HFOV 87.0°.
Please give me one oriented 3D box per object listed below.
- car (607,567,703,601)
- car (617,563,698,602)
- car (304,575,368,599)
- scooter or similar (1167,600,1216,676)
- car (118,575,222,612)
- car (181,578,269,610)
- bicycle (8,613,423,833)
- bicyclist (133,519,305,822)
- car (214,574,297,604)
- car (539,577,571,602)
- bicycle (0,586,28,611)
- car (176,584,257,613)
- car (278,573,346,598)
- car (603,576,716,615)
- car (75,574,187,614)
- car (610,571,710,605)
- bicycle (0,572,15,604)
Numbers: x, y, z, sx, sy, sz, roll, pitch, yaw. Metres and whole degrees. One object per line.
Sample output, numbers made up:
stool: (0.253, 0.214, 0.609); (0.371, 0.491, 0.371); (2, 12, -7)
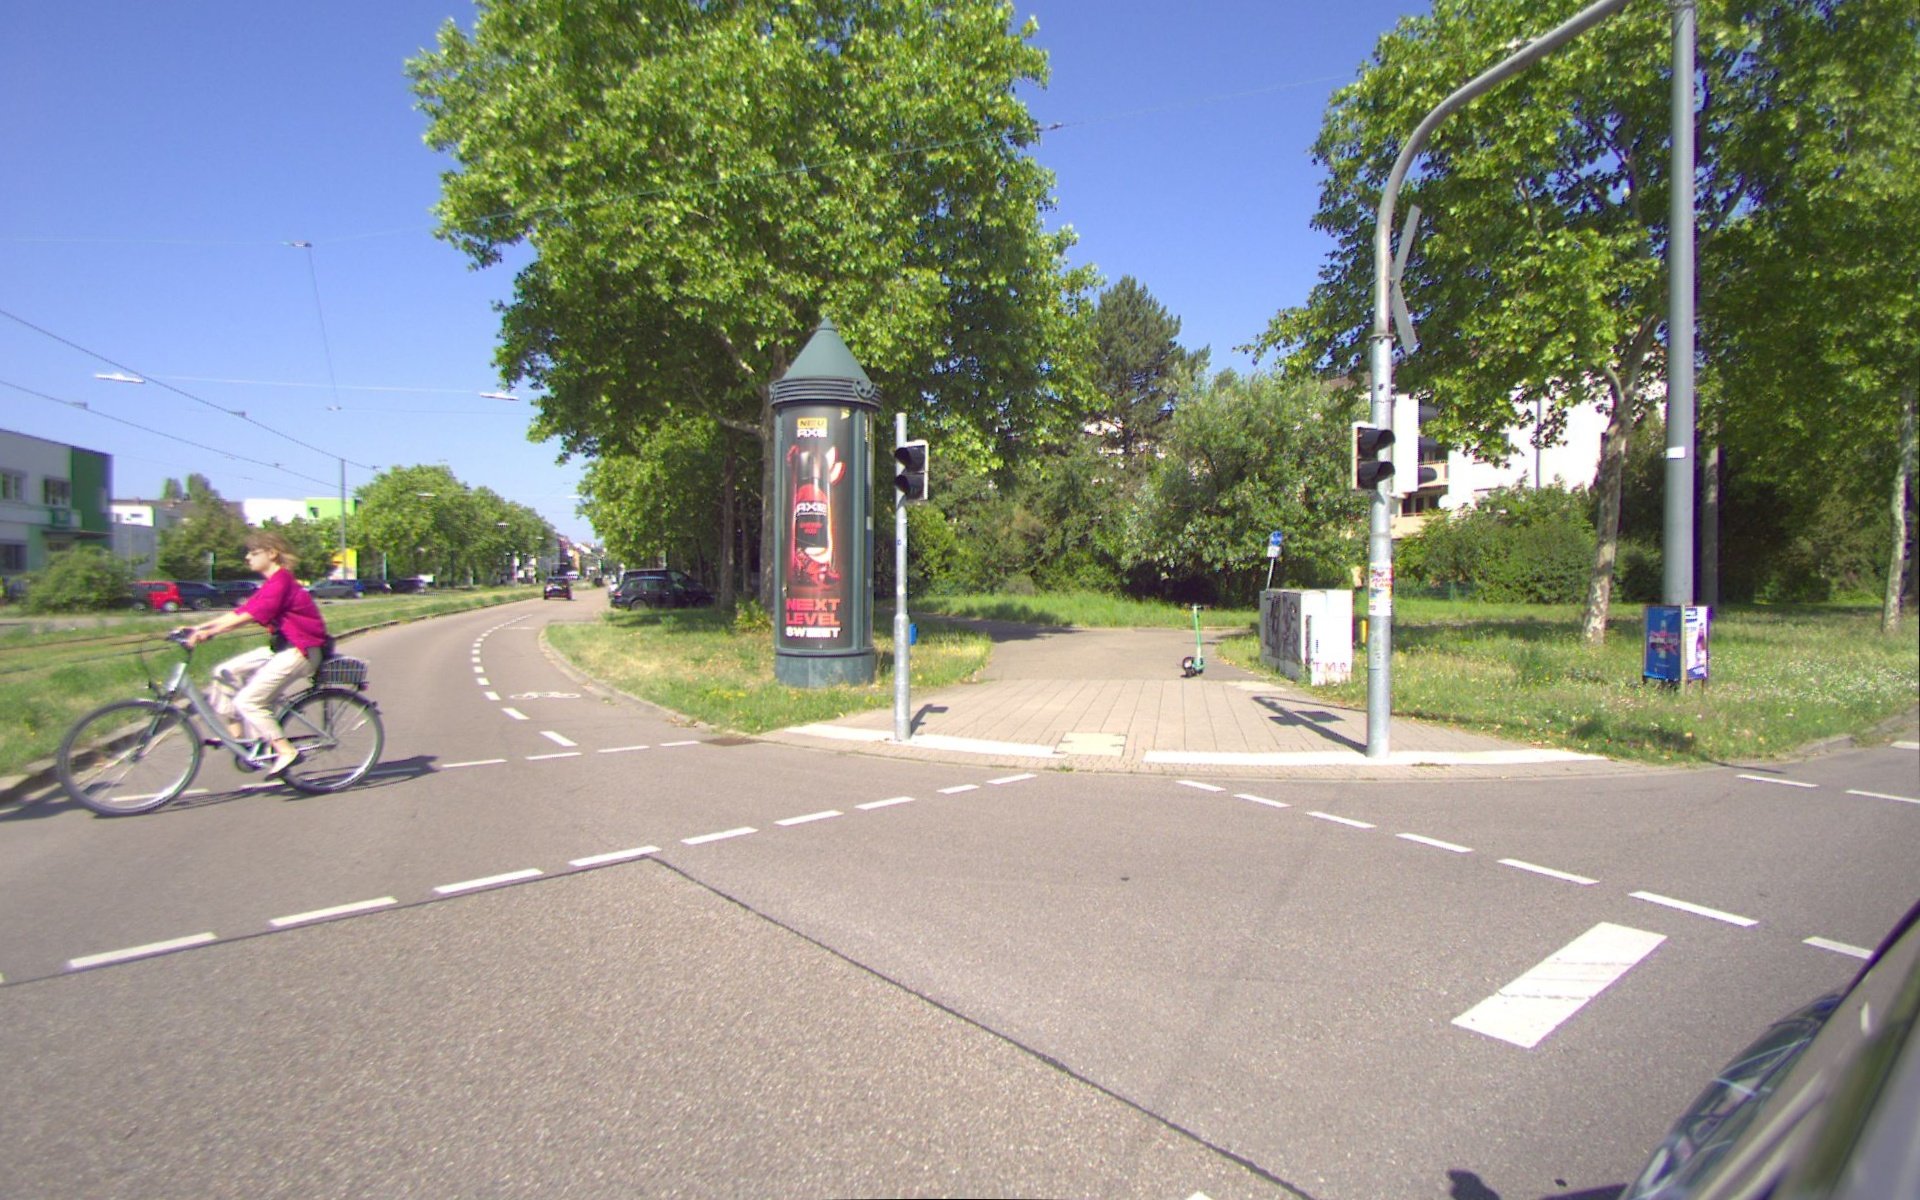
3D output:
car: (-15.111, -0.783, 50.212); (4.266, 1.653, 2.003); (-1, 0, -28)
car: (-18.217, -1.072, 60.980); (4.494, 2.318, 2.004); (0, 1, -22)
car: (-49.213, -1.036, 79.865); (1.993, 1.816, 3.939); (2, 2, 43)
scooter or similar: (3.844, 0.606, 16.719); (0.511, 1.156, 1.435); (-1, 1, 24)
car: (-40.156, -0.345, 51.494); (1.992, 1.816, 3.939); (-1, 0, 43)
car: (-43.731, -0.378, 60.251); (1.992, 1.816, 3.939); (-1, 0, 43)
bicycle: (-4.780, 0.708, 6.640); (0.691, 1.200, 2.091); (1, 0, 44)
bicyclist: (-4.818, 0.410, 6.585); (0.700, 1.809, 0.797); (1, 1, 44)
car: (-43.999, -0.683, 63.234); (1.992, 1.816, 3.939); (-1, 0, 43)
car: (-28.466, -0.737, 71.221); (1.756, 1.676, 4.008); (0, 0, -18)
bicycle: (-41.194, -0.071, 43.209); (1.089, 1.059, 2.132); (0, 1, -9)
car: (-41.963, -0.133, 57.132); (1.559, 1.555, 3.400); (1, 2, 36)
car: (-48.798, -1.080, 76.223); (1.992, 1.816, 3.939); (-1, 0, 43)
car: (-12.600, -0.224, 42.475); (4.266, 1.509, 2.003); (-1, 2, -28)
car: (-39.687, -0.281, 48.506); (1.992, 1.816, 3.939); (-1, 0, 43)
car: (-14.154, -0.593, 47.749); (4.266, 1.509, 2.003); (-1, 1, -28)
bicycle: (-41.219, -0.522, 43.084); (1.194, 1.342, 0.780); (0, 1, -9)
